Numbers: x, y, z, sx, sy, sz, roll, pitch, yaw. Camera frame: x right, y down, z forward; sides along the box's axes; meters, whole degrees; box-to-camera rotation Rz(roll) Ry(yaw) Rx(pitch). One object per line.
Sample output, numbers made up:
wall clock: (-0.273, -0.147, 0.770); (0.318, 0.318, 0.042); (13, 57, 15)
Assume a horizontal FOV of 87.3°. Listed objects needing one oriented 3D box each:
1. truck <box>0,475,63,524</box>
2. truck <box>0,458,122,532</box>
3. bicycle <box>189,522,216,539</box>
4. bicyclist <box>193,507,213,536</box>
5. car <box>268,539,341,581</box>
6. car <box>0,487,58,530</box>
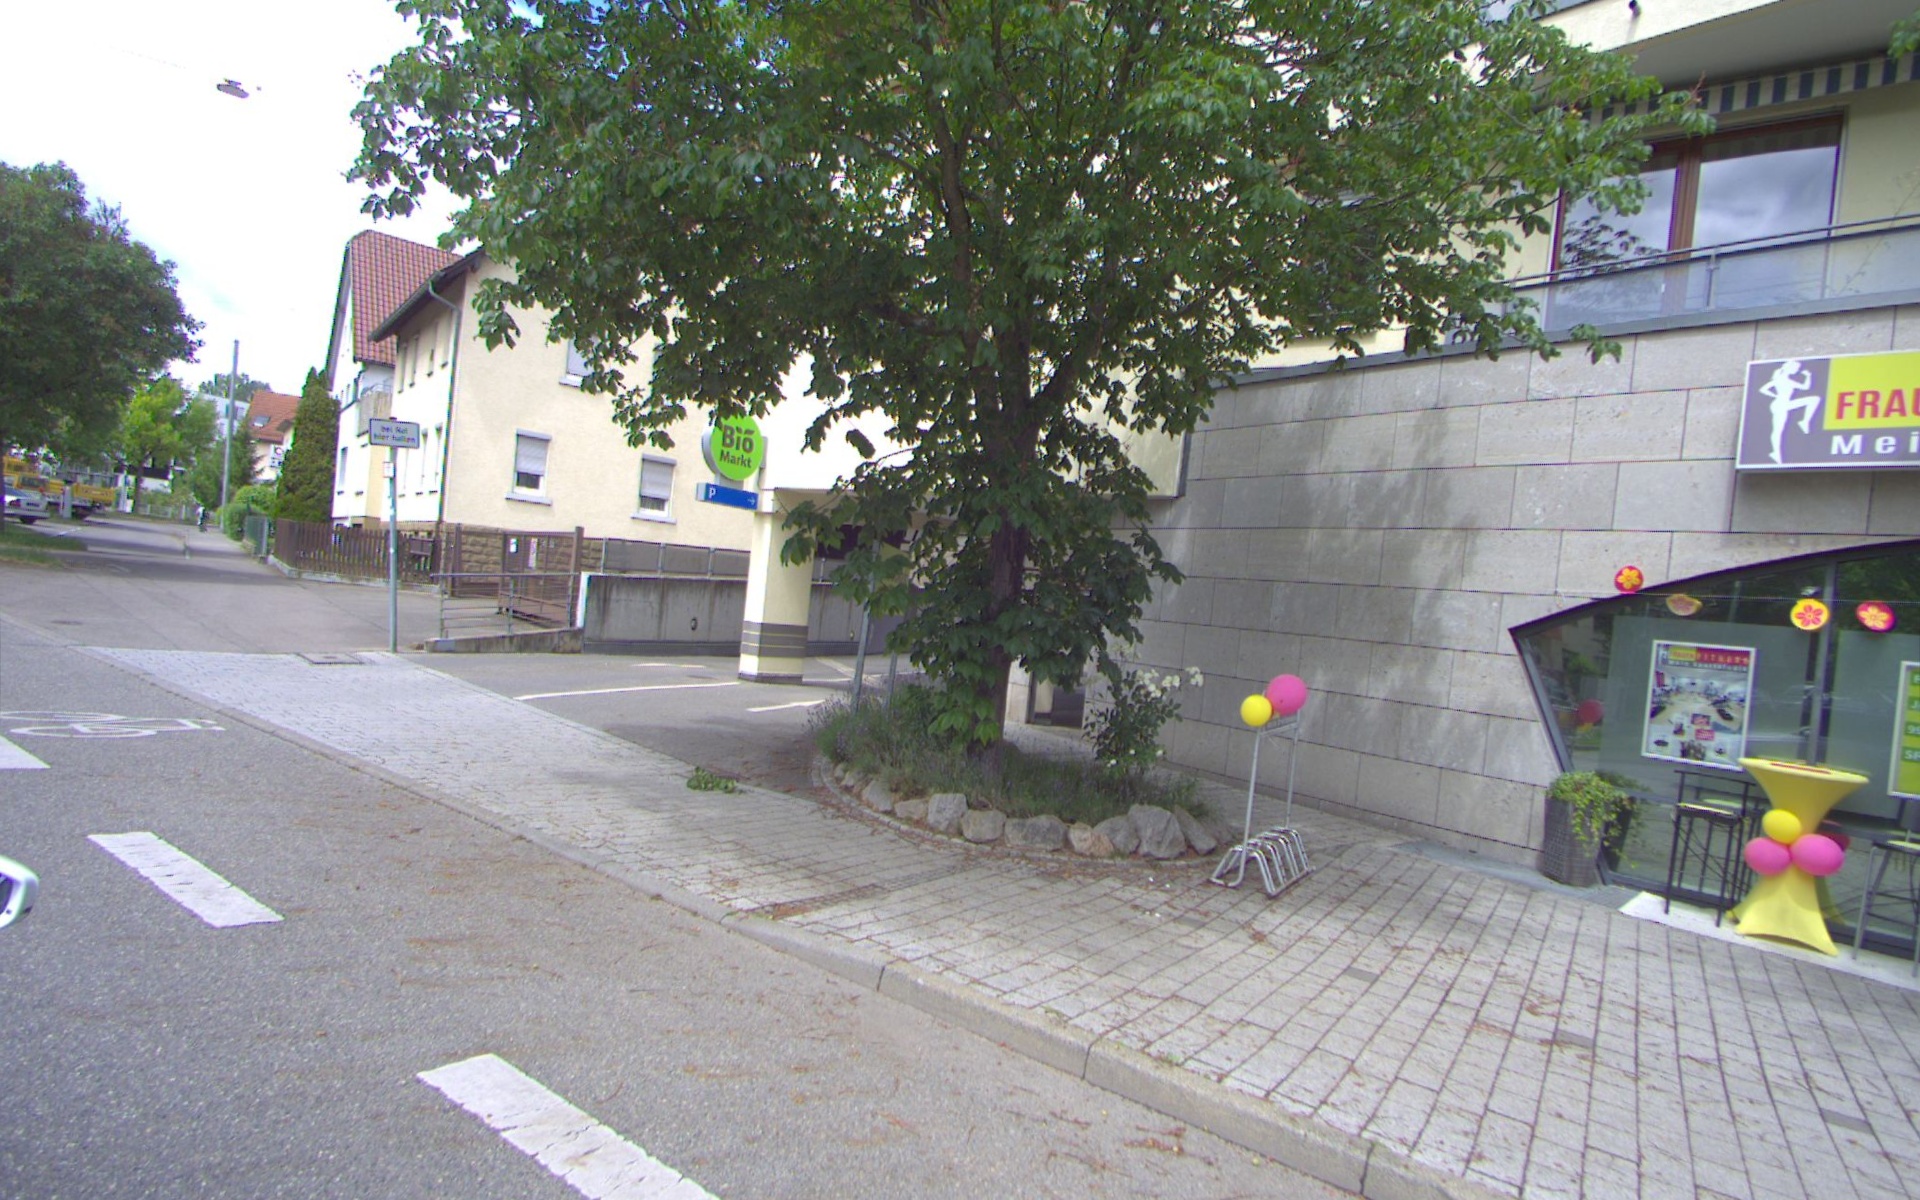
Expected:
truck: (-49.490, -5.393, 51.103); (5.577, 2.036, 2.000); (8, -2, -5)
truck: (-49.573, -5.744, 53.894); (6.585, 3.042, 2.771); (8, -2, -2)
bicycle: (-44.343, -4.089, 58.868); (1.725, 0.821, 0.595); (6, -2, 31)
bicyclist: (-44.339, -4.609, 58.911); (0.557, 1.577, 0.590); (6, -2, 31)
car: (-22.563, -1.395, 34.582); (1.458, 1.137, 3.827); (9, -3, -42)
car: (-39.248, -3.888, 40.227); (4.603, 1.469, 1.768); (7, 0, 0)
